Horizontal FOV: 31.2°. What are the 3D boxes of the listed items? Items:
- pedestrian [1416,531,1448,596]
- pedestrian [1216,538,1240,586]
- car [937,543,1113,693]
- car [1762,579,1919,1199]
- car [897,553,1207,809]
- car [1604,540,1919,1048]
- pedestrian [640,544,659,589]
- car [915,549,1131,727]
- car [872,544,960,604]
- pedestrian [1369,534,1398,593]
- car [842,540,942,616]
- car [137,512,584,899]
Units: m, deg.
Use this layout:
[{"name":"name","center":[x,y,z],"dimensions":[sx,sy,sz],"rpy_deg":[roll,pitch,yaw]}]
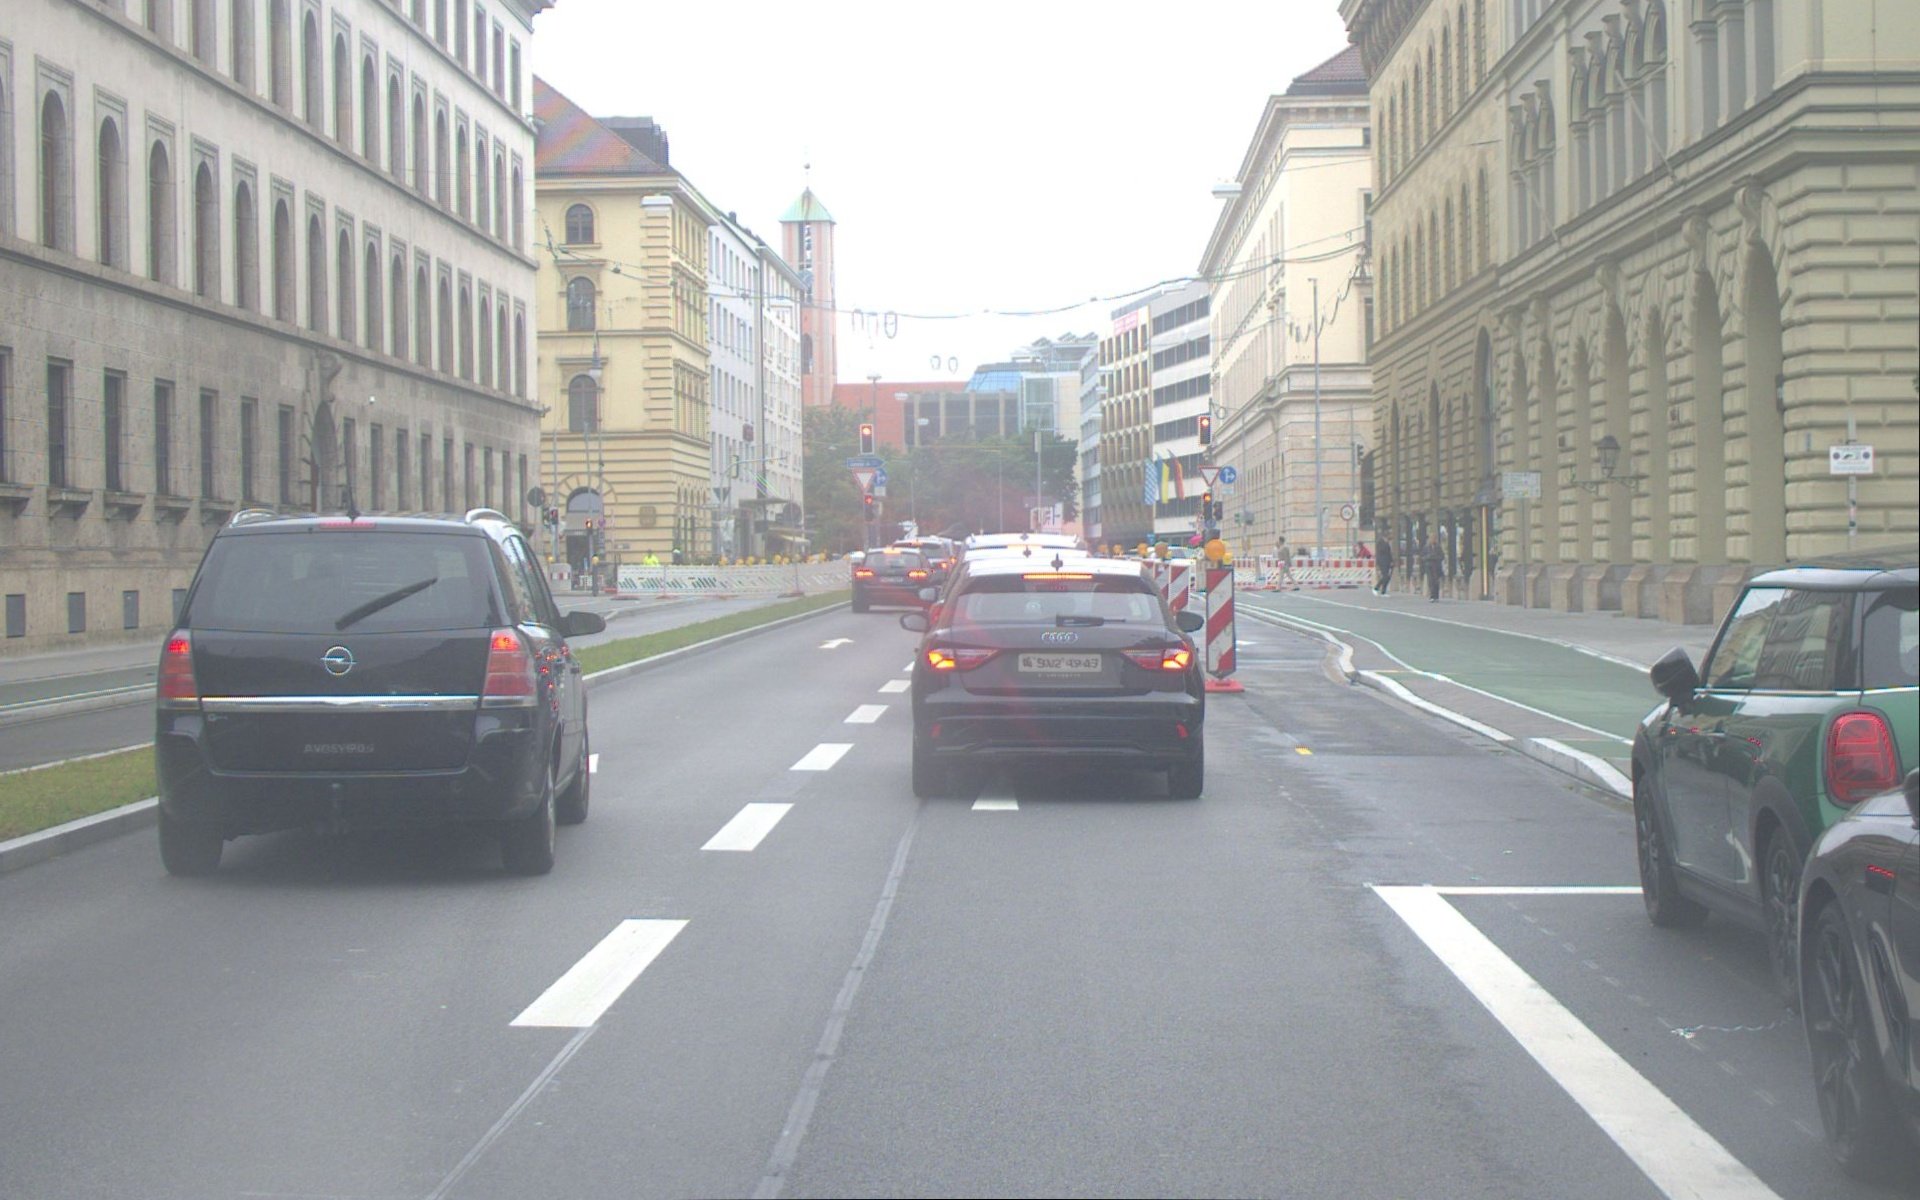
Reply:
[{"name":"pedestrian","center":[11.699,-0.906,85.224],"dimensions":[0.710,1.612,0.754],"rpy_deg":[-1,1,1]},{"name":"pedestrian","center":[9.026,-1.276,115.833],"dimensions":[0.752,1.612,0.712],"rpy_deg":[0,1,10]},{"name":"car","center":[0.696,0.148,36.162],"dimensions":[1.730,1.456,4.000],"rpy_deg":[1,1,1]},{"name":"car","center":[2.866,0.700,6.414],"dimensions":[1.826,1.402,4.719],"rpy_deg":[1,1,3]},{"name":"car","center":[0.569,0.432,21.408],"dimensions":[1.730,1.398,4.000],"rpy_deg":[1,1,1]},{"name":"car","center":[3.408,0.556,12.204],"dimensions":[1.675,1.515,3.829],"rpy_deg":[1,1,3]},{"name":"pedestrian","center":[-12.736,-1.377,141.106],"dimensions":[0.656,1.799,0.727],"rpy_deg":[-1,1,1]},{"name":"car","center":[0.564,0.276,29.809],"dimensions":[1.730,1.398,4.000],"rpy_deg":[1,1,1]},{"name":"car","center":[-1.063,-0.664,85.689],"dimensions":[1.993,1.439,4.000],"rpy_deg":[-1,1,2]},{"name":"pedestrian","center":[11.583,-0.998,94.022],"dimensions":[0.710,1.612,0.754],"rpy_deg":[-1,1,1]},{"name":"car","center":[-1.472,-0.505,75.912],"dimensions":[1.993,1.622,4.000],"rpy_deg":[-1,1,2]},{"name":"car","center":[-2.721,0.407,16.383],"dimensions":[1.764,1.610,4.031],"rpy_deg":[0,1,-5]}]
